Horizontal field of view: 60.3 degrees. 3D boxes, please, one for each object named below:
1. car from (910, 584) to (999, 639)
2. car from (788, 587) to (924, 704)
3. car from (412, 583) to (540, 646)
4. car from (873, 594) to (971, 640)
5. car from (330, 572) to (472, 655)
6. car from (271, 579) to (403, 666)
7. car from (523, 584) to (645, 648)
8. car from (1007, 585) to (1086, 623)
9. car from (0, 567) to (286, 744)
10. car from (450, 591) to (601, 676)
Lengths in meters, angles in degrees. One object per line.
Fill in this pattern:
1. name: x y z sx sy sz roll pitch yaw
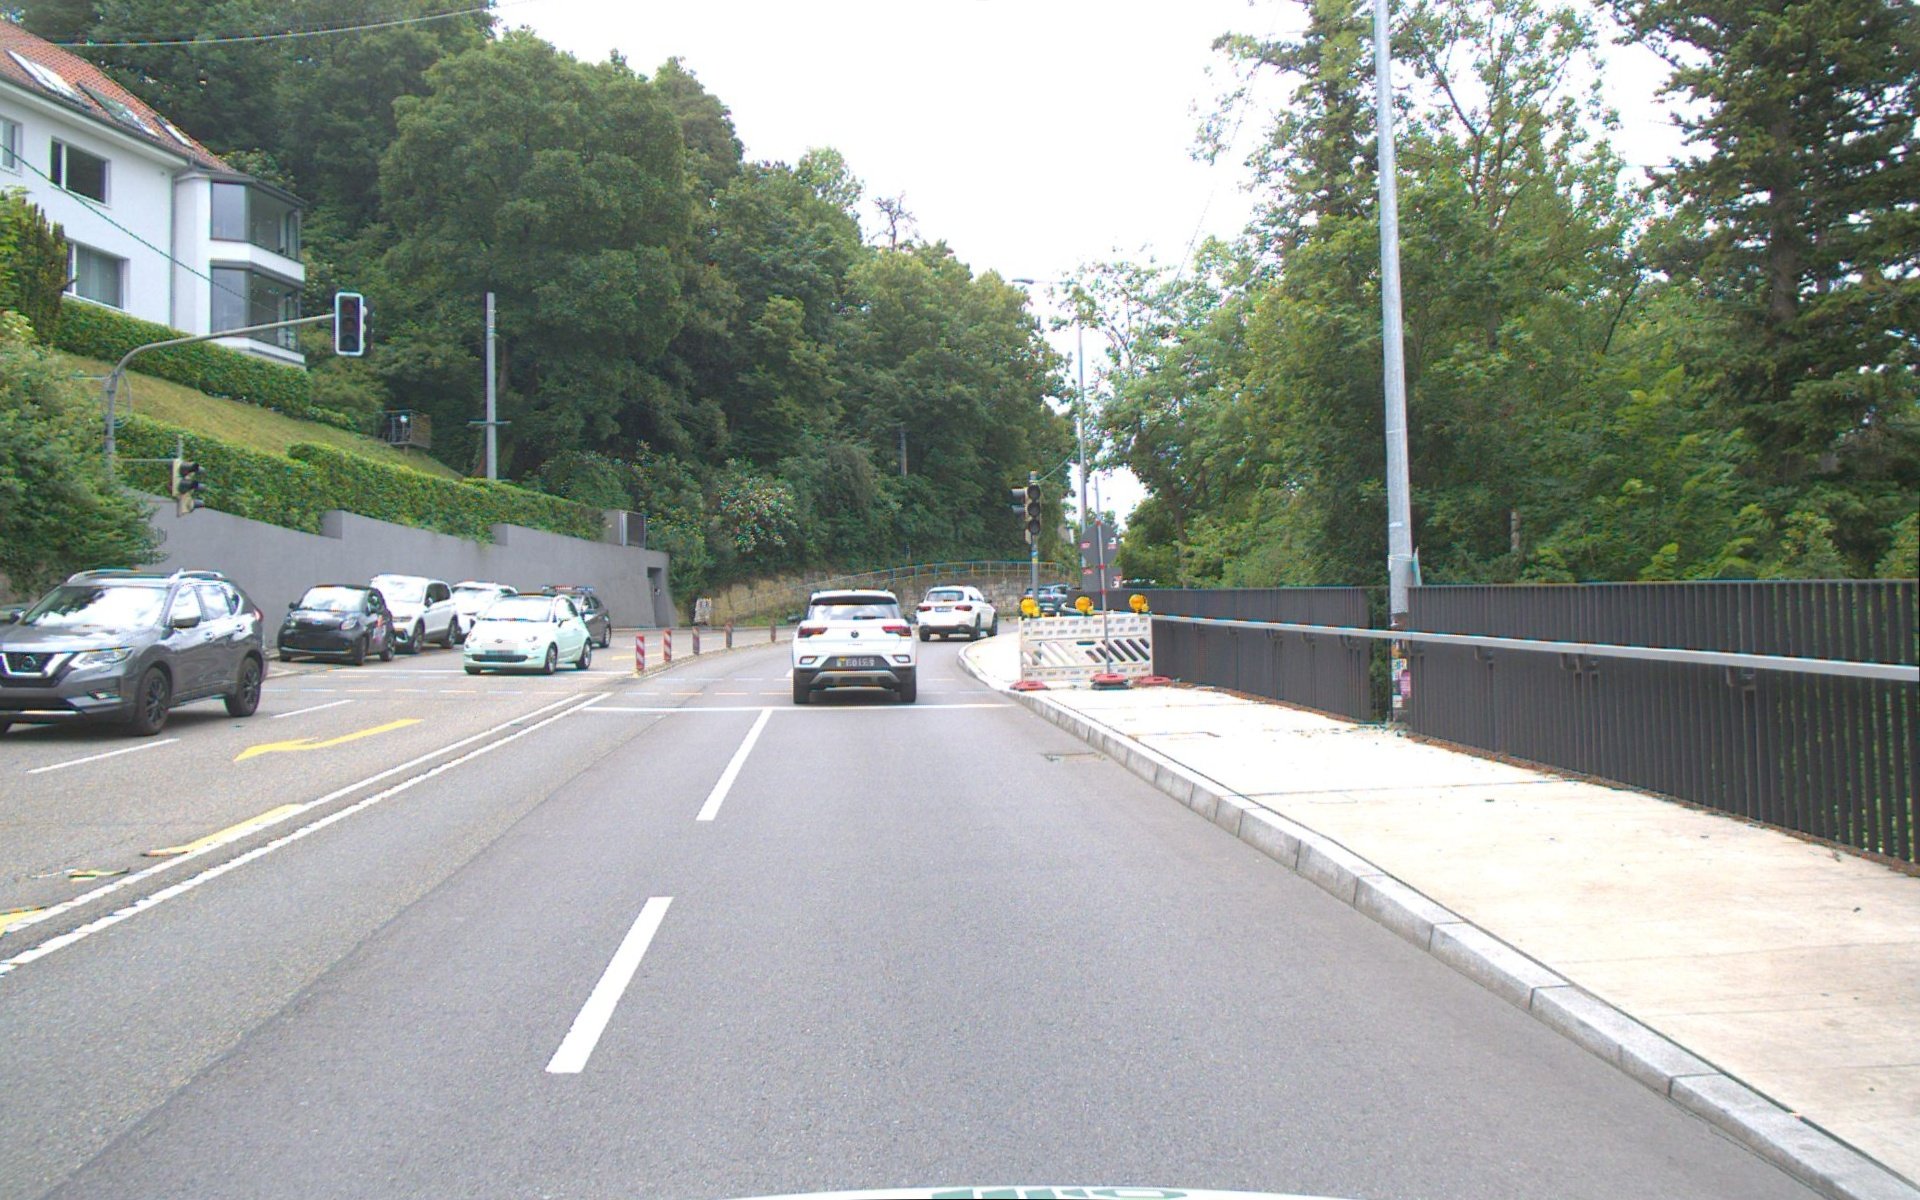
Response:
1. car: -0.129 0.359 51.554 1.951 1.614 4.003 1 0 12
2. car: -1.584 0.602 24.248 1.831 1.563 3.799 0 1 -6
3. car: -13.005 0.386 44.753 1.794 1.600 4.477 1 0 5
4. car: -1.380 0.624 61.259 1.870 1.601 3.993 1 0 29
5. car: -13.067 0.297 38.959 1.821 1.761 4.759 2 0 -2
6. car: -12.711 0.425 33.906 1.677 1.600 2.956 3 1 -4
7. car: -9.996 0.412 44.297 1.674 1.626 4.210 0 0 10
8. car: 3.795 0.187 71.567 1.955 1.568 4.005 1 0 27
9. car: -9.263 0.538 18.492 1.846 1.726 4.667 0 0 -4
10. car: -8.217 0.586 31.576 1.675 1.492 3.662 1 0 4
